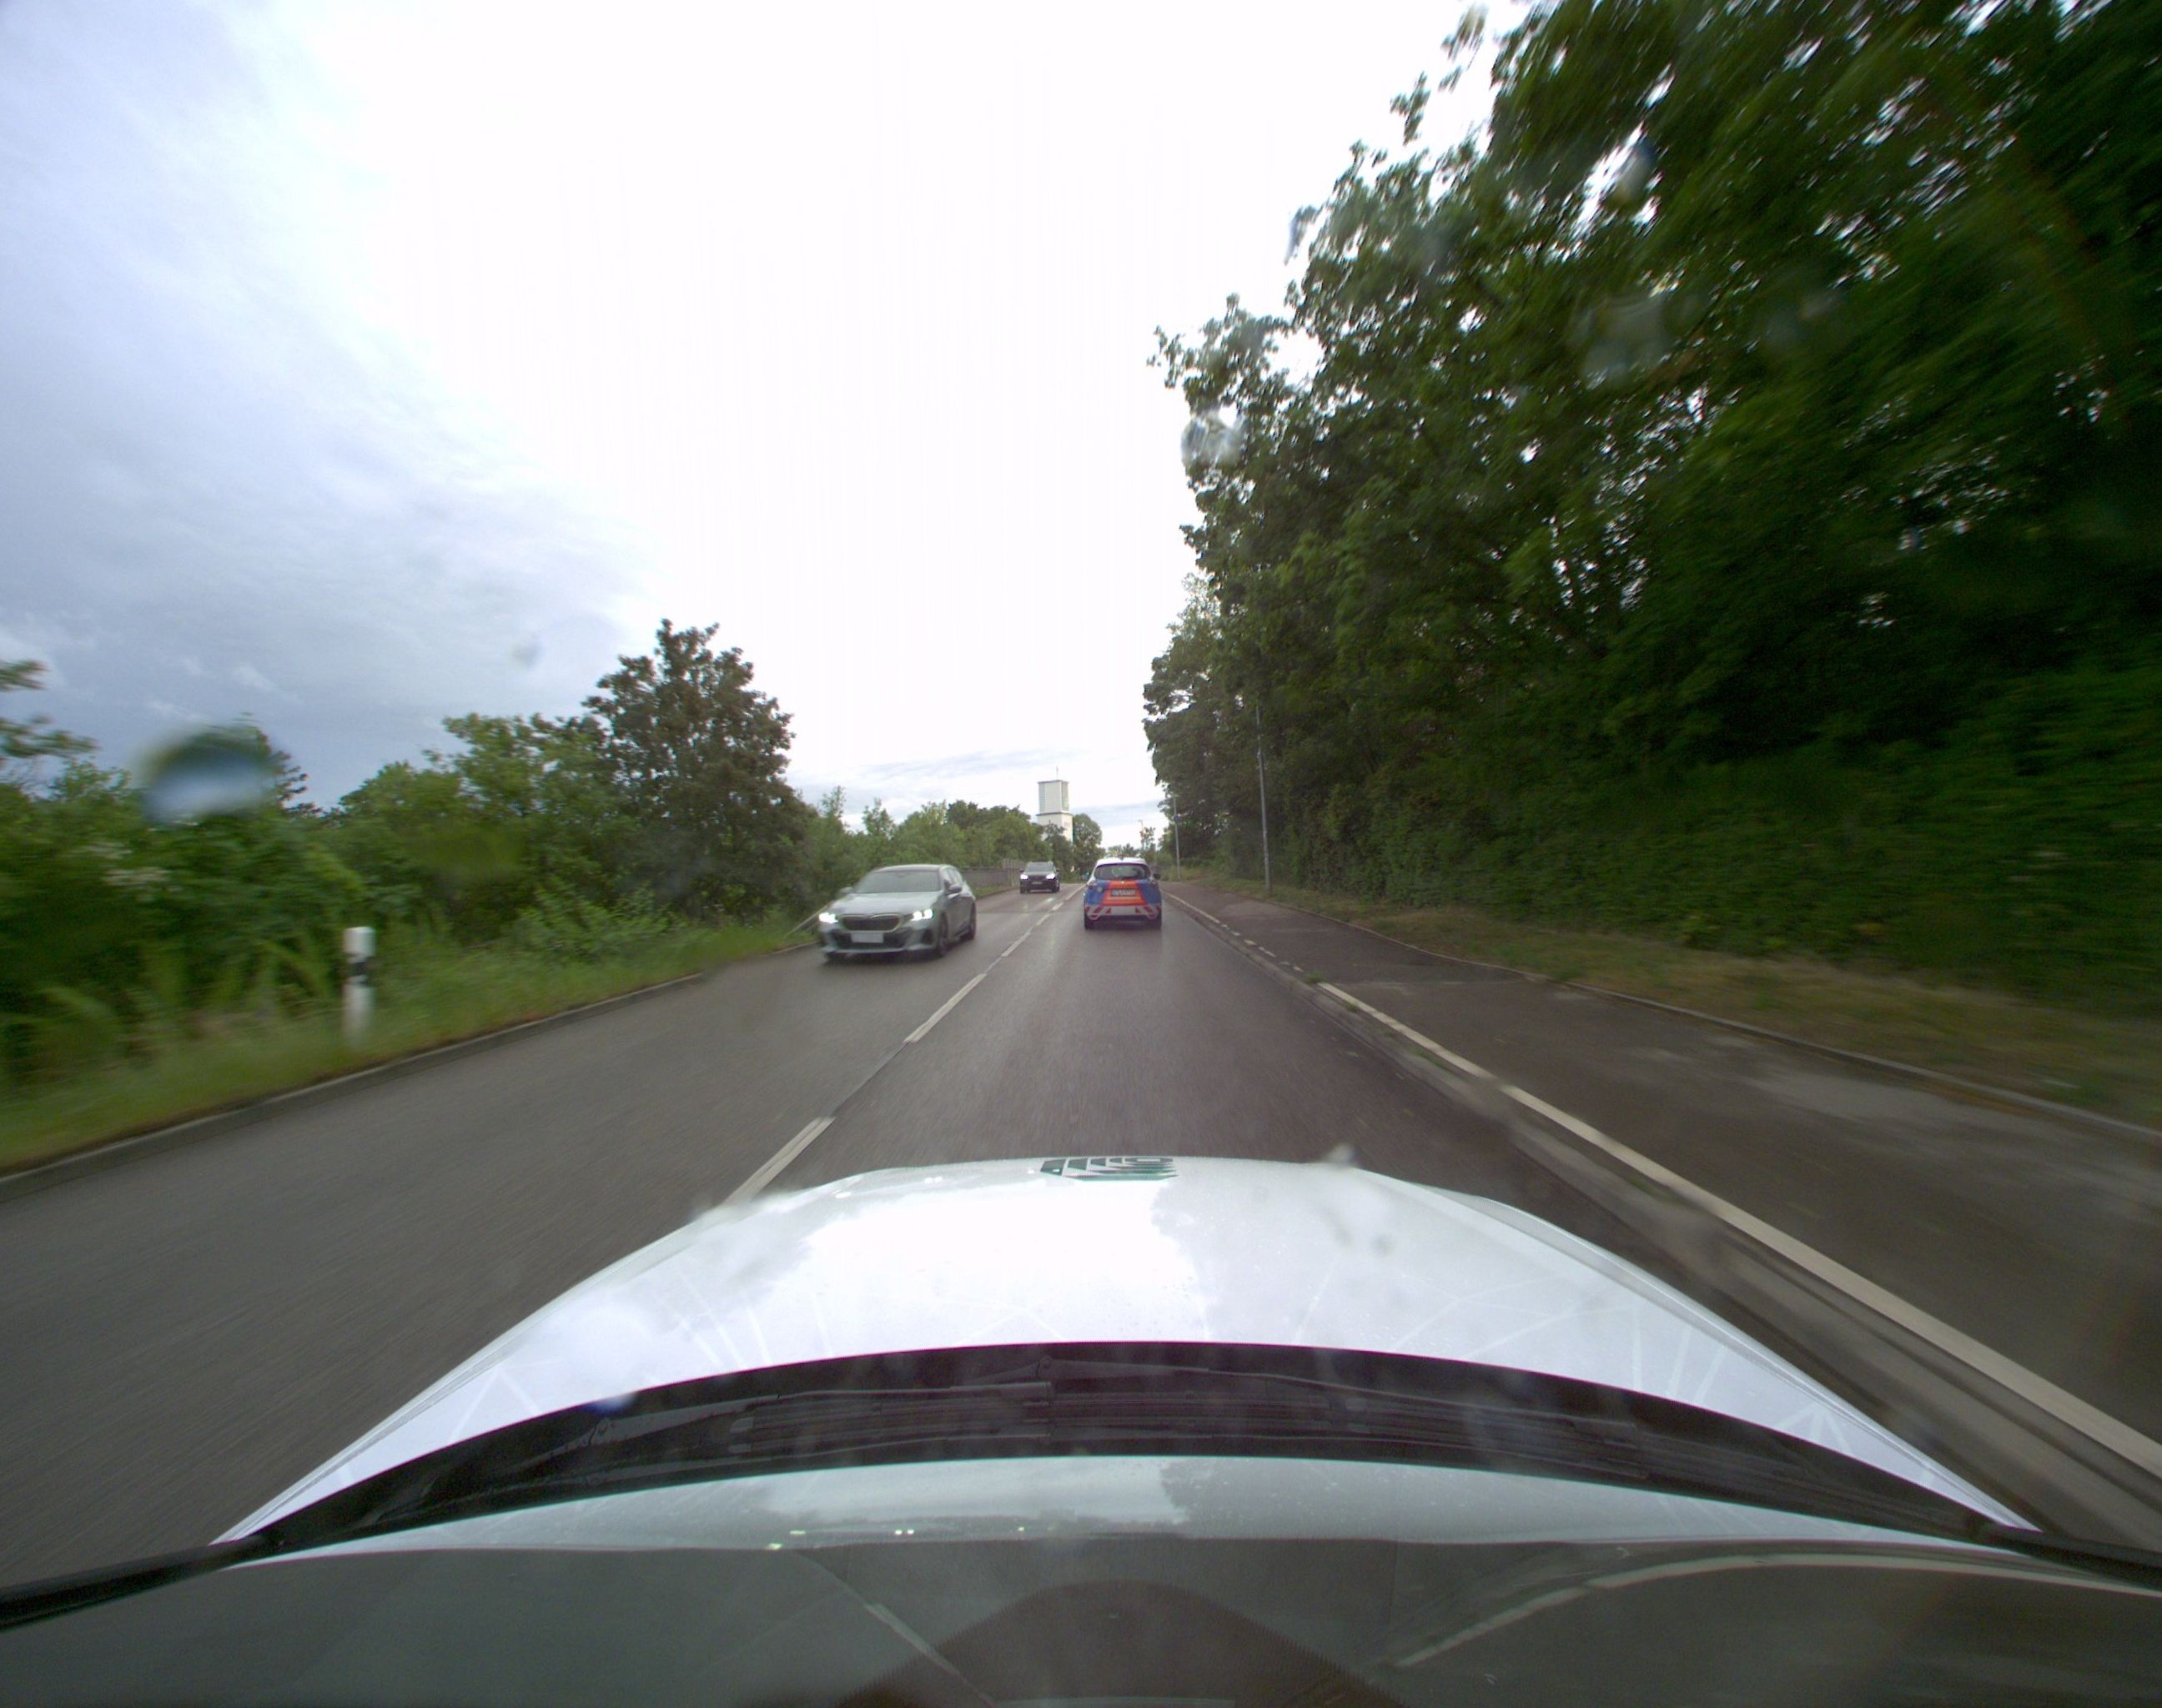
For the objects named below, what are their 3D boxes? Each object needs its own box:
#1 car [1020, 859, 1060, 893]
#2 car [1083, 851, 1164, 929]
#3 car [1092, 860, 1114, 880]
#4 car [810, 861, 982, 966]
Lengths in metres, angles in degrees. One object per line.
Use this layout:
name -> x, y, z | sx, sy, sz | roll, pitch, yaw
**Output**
car -> -2.051, 1.098, 41.727 | 1.724, 1.585, 4.081 | -2, 0, 1
car -> 0.956, 0.793, 18.986 | 1.651, 1.593, 3.569 | -2, -1, 2
car -> 1.986, 1.417, 72.143 | 1.795, 1.590, 3.564 | -3, -1, 2
car -> -3.080, 0.923, 14.653 | 1.855, 1.503, 4.729 | -2, 0, 1
